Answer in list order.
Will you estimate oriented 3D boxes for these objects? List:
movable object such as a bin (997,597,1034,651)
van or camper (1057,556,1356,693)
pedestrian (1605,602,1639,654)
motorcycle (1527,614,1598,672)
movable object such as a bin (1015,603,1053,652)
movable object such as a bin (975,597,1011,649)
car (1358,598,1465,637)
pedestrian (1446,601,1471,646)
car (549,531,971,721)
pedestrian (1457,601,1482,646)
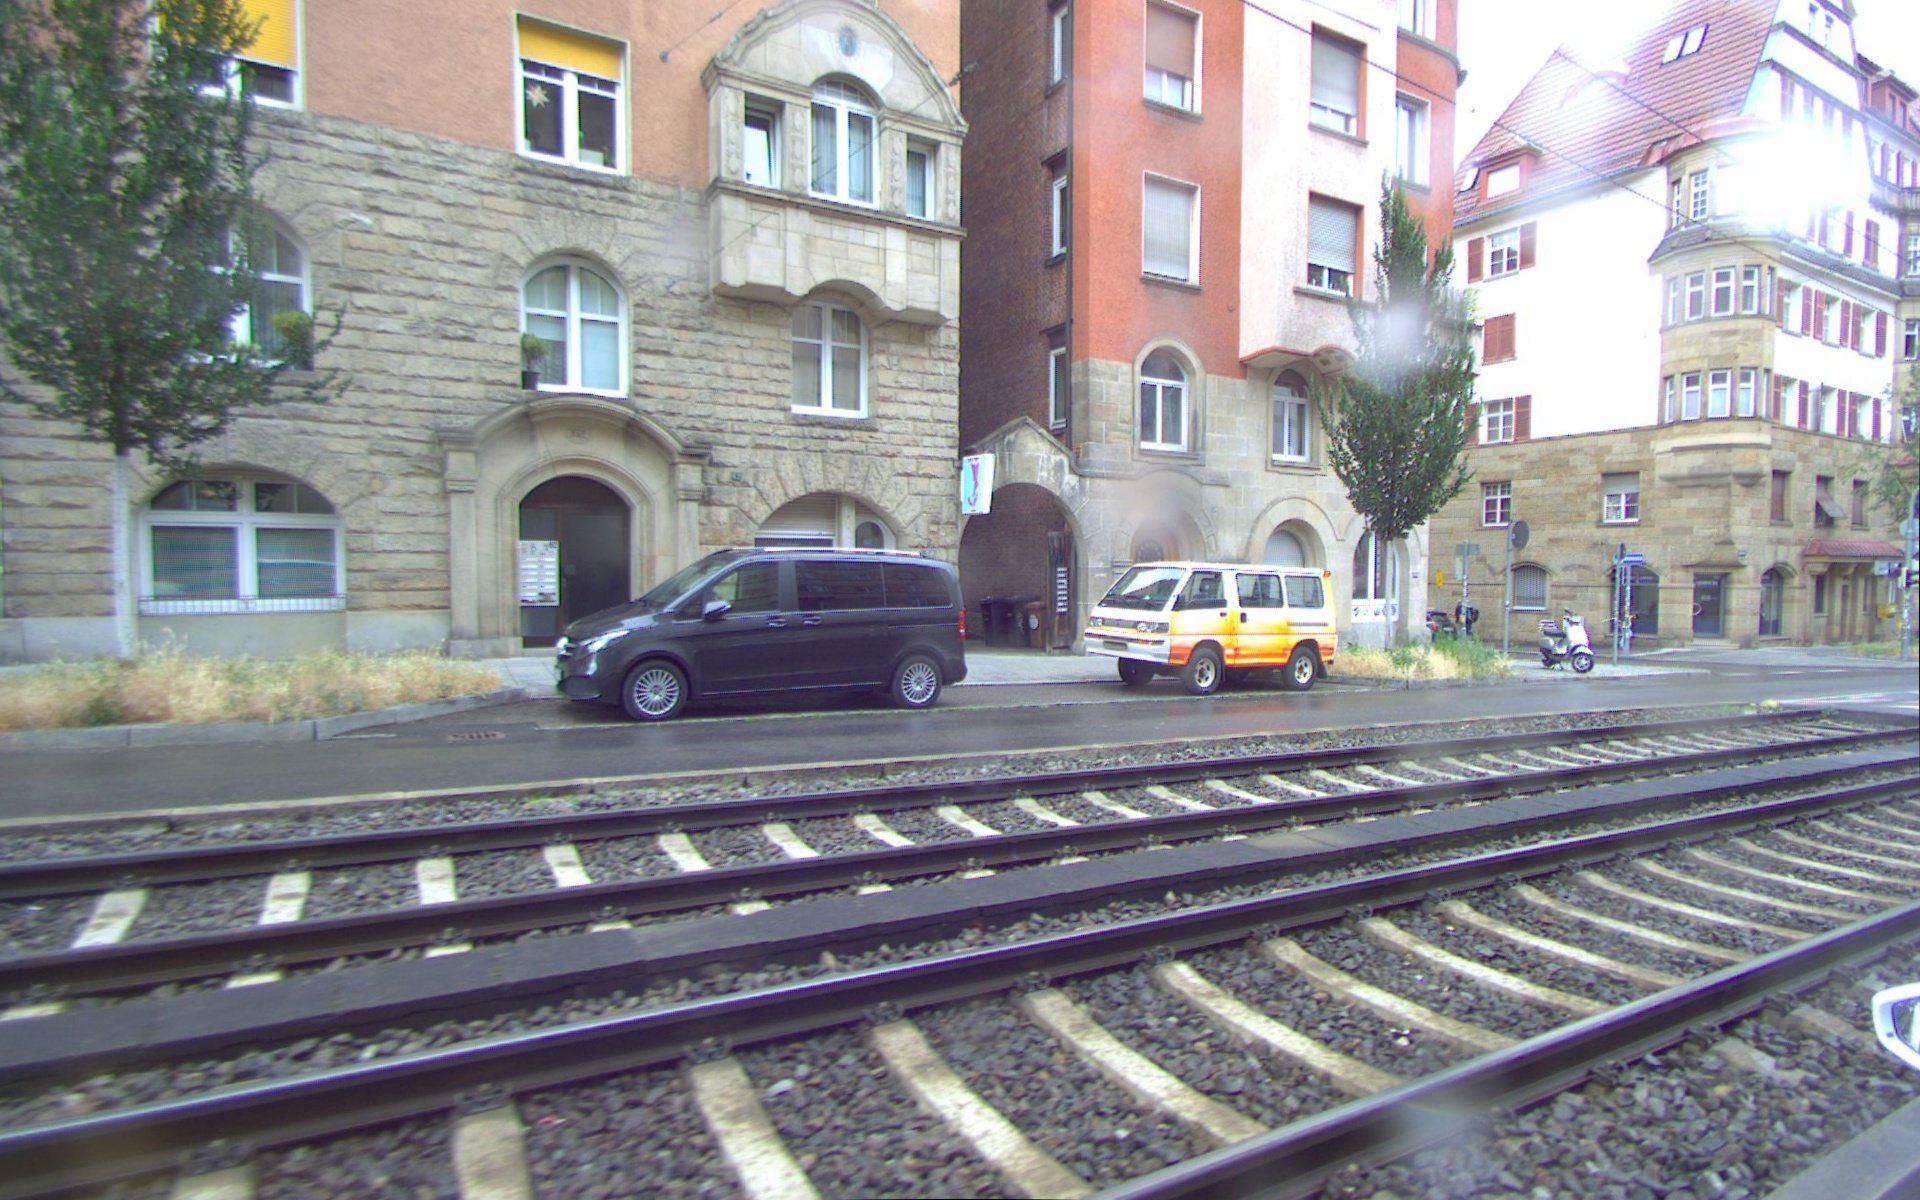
[{"bbox_3d":[1.152,0.490,20.849,0.513,1.075,0.571,1,1,-30],"label":"movable object such as a bin"},{"bbox_3d":[4.036,0.362,16.217,4.647,1.927,1.982,1,2,-32],"label":"van or camper"},{"bbox_3d":[22.854,0.962,34.675,0.854,1.756,0.604,1,1,-29],"label":"pedestrian"},{"bbox_3d":[12.908,0.907,21.567,0.608,1.149,1.441,2,1,0],"label":"motorcycle"},{"bbox_3d":[1.497,0.550,20.365,0.513,0.968,0.571,1,1,-30],"label":"movable object such as a bin"},{"bbox_3d":[0.700,0.478,21.298,0.513,1.075,0.571,1,1,-30],"label":"movable object such as a bin"},{"bbox_3d":[17.529,0.652,39.108,1.541,1.329,3.606,1,1,-28],"label":"car"},{"bbox_3d":[19.872,0.924,40.039,0.635,1.756,0.604,1,1,-29],"label":"pedestrian"},{"bbox_3d":[-2.364,0.308,12.185,4.643,1.927,1.984,1,0,-30],"label":"car"},{"bbox_3d":[20.553,0.947,40.527,0.635,1.756,0.604,1,1,-29],"label":"pedestrian"}]
